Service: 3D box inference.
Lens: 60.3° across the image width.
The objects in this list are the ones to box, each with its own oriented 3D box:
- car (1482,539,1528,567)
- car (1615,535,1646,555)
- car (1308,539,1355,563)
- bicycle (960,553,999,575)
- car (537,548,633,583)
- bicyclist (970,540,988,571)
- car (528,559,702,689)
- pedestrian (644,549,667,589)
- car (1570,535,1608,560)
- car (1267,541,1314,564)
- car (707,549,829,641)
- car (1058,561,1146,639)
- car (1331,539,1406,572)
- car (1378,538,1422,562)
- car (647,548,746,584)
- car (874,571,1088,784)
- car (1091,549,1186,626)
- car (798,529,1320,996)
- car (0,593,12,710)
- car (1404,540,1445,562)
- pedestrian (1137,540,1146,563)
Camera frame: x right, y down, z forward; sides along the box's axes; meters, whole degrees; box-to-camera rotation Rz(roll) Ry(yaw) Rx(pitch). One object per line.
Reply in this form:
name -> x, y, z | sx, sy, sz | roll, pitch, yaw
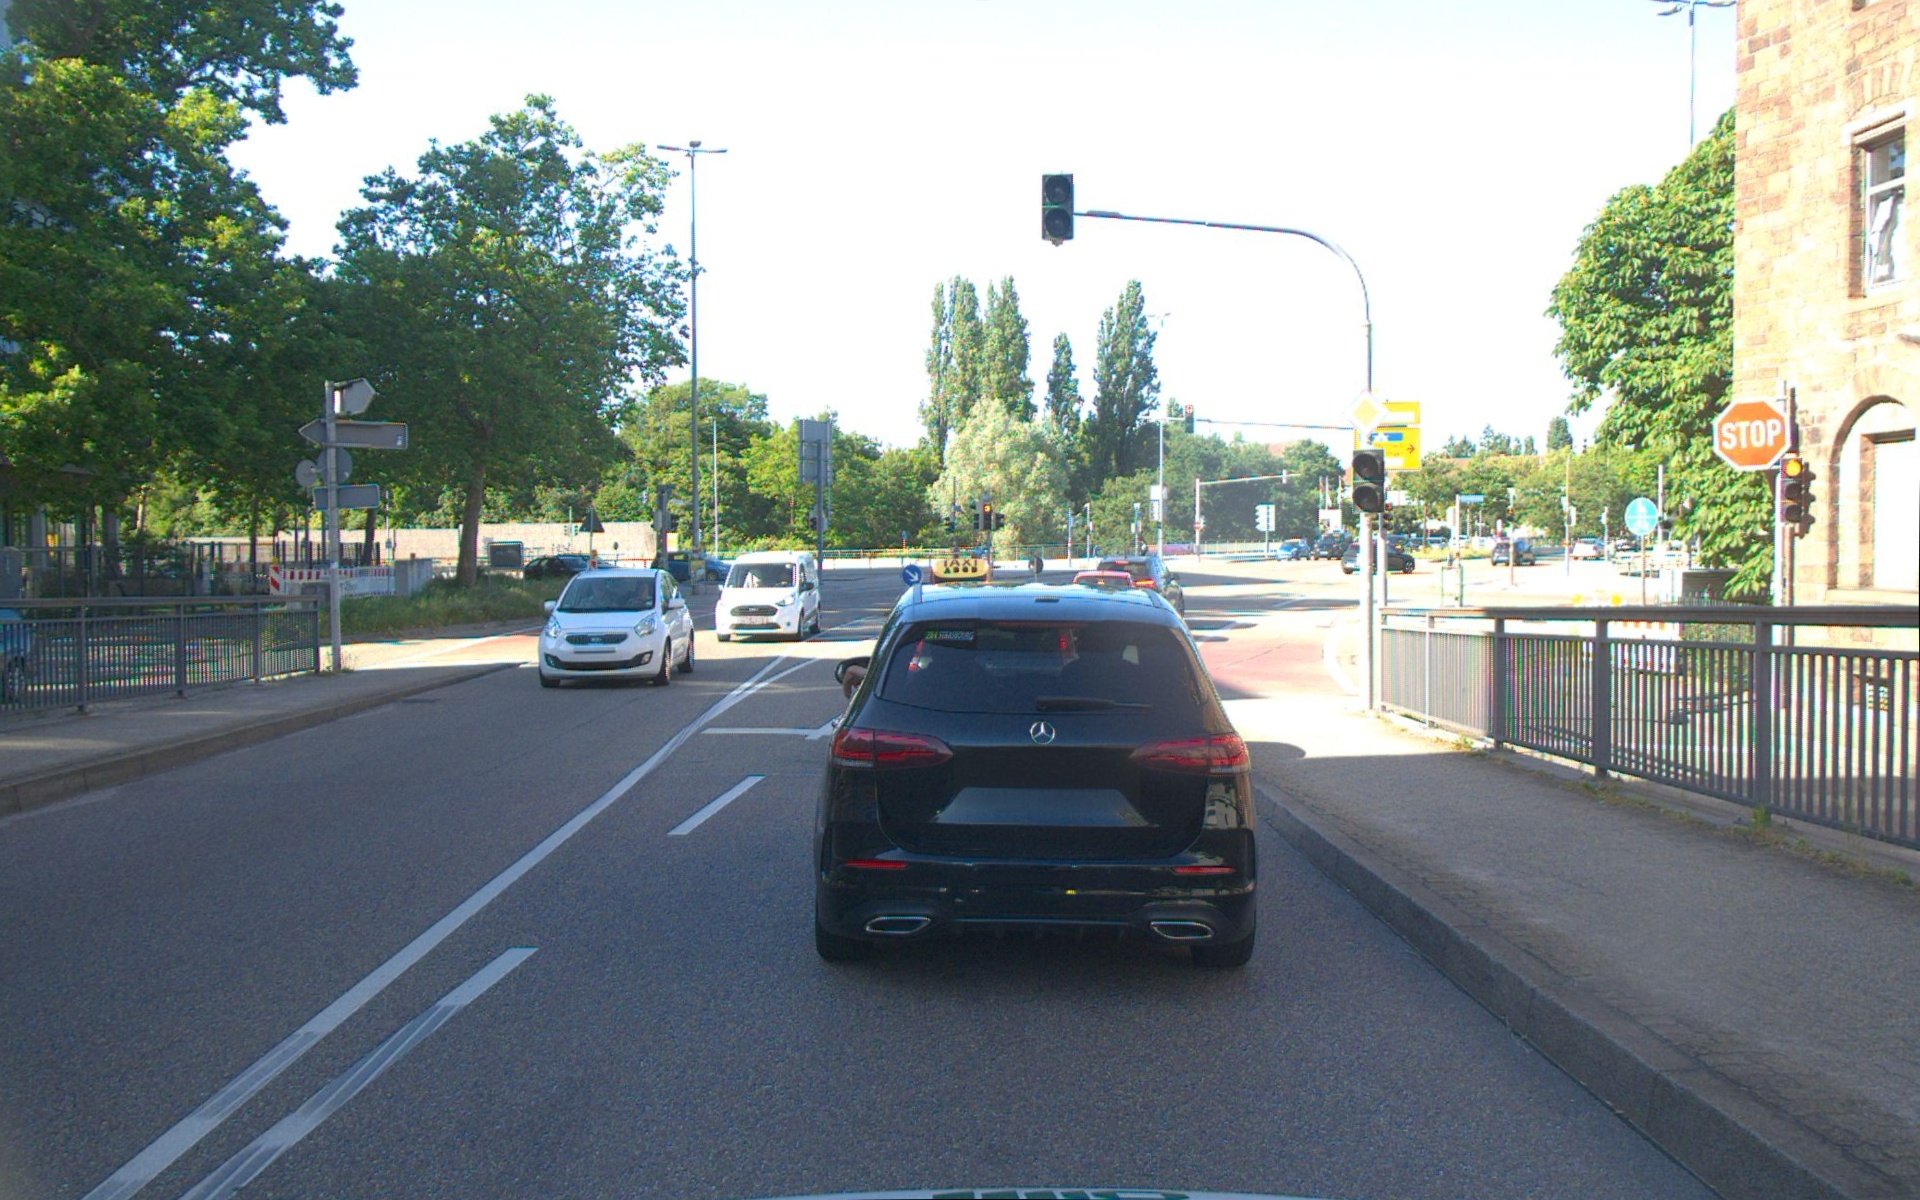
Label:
car -> 32.631, -2.822, 99.015 | 1.850, 1.658, 3.992 | 0, 2, 30
car -> 58.039, -4.772, 143.136 | 1.851, 1.574, 3.989 | 0, -1, 33
car -> 25.840, -3.395, 114.920 | 1.846, 1.605, 3.988 | 1, 2, 34
bicycle -> 0.997, -1.875, 85.758 | 1.953, 1.068, 0.525 | -2, 1, -18
car -> -18.431, -1.686, 81.319 | 4.309, 1.658, 1.890 | 0, 1, 24
bicyclist -> 0.997, -2.322, 85.737 | 0.792, 1.578, 0.525 | -2, 1, -18
car -> -4.883, 0.264, 23.925 | 1.742, 1.663, 3.999 | -1, 2, -2
pedestrian -> -11.921, -1.200, 64.788 | 0.690, 1.552, 0.744 | 1, 1, 9
car -> 42.771, -3.545, 112.455 | 1.849, 1.658, 3.993 | 0, 2, 30
car -> 23.583, -3.410, 117.927 | 1.846, 1.605, 3.988 | 1, 2, 34
car -> -4.086, -0.179, 35.913 | 1.878, 1.825, 4.901 | -1, 2, 2
car -> 3.181, -0.043, 36.597 | 1.685, 1.548, 3.490 | 0, 3, 9
car -> 21.159, -2.311, 85.672 | 3.964, 1.658, 1.863 | -2, 2, -41
car -> 31.375, -3.562, 117.888 | 1.846, 1.605, 3.988 | 1, 2, 34
car -> -12.635, -1.618, 79.200 | 4.306, 1.658, 1.891 | 0, 1, 21
car -> 0.182, 0.565, 14.400 | 1.606, 1.556, 3.474 | -1, 1, 1
car -> 4.608, -0.354, 42.255 | 1.685, 1.843, 4.301 | 0, 2, 16
car -> 0.303, 0.558, 7.884 | 1.840, 1.641, 3.999 | 1, 1, -2
car -> -15.051, 0.820, 22.703 | 1.814, 1.722, 3.999 | 0, 2, -2
car -> 34.860, -3.704, 124.117 | 1.846, 1.605, 3.988 | 1, 2, 34
pedestrian -> 13.137, -3.524, 119.658 | 0.443, 1.613, 0.499 | 0, 2, 39
